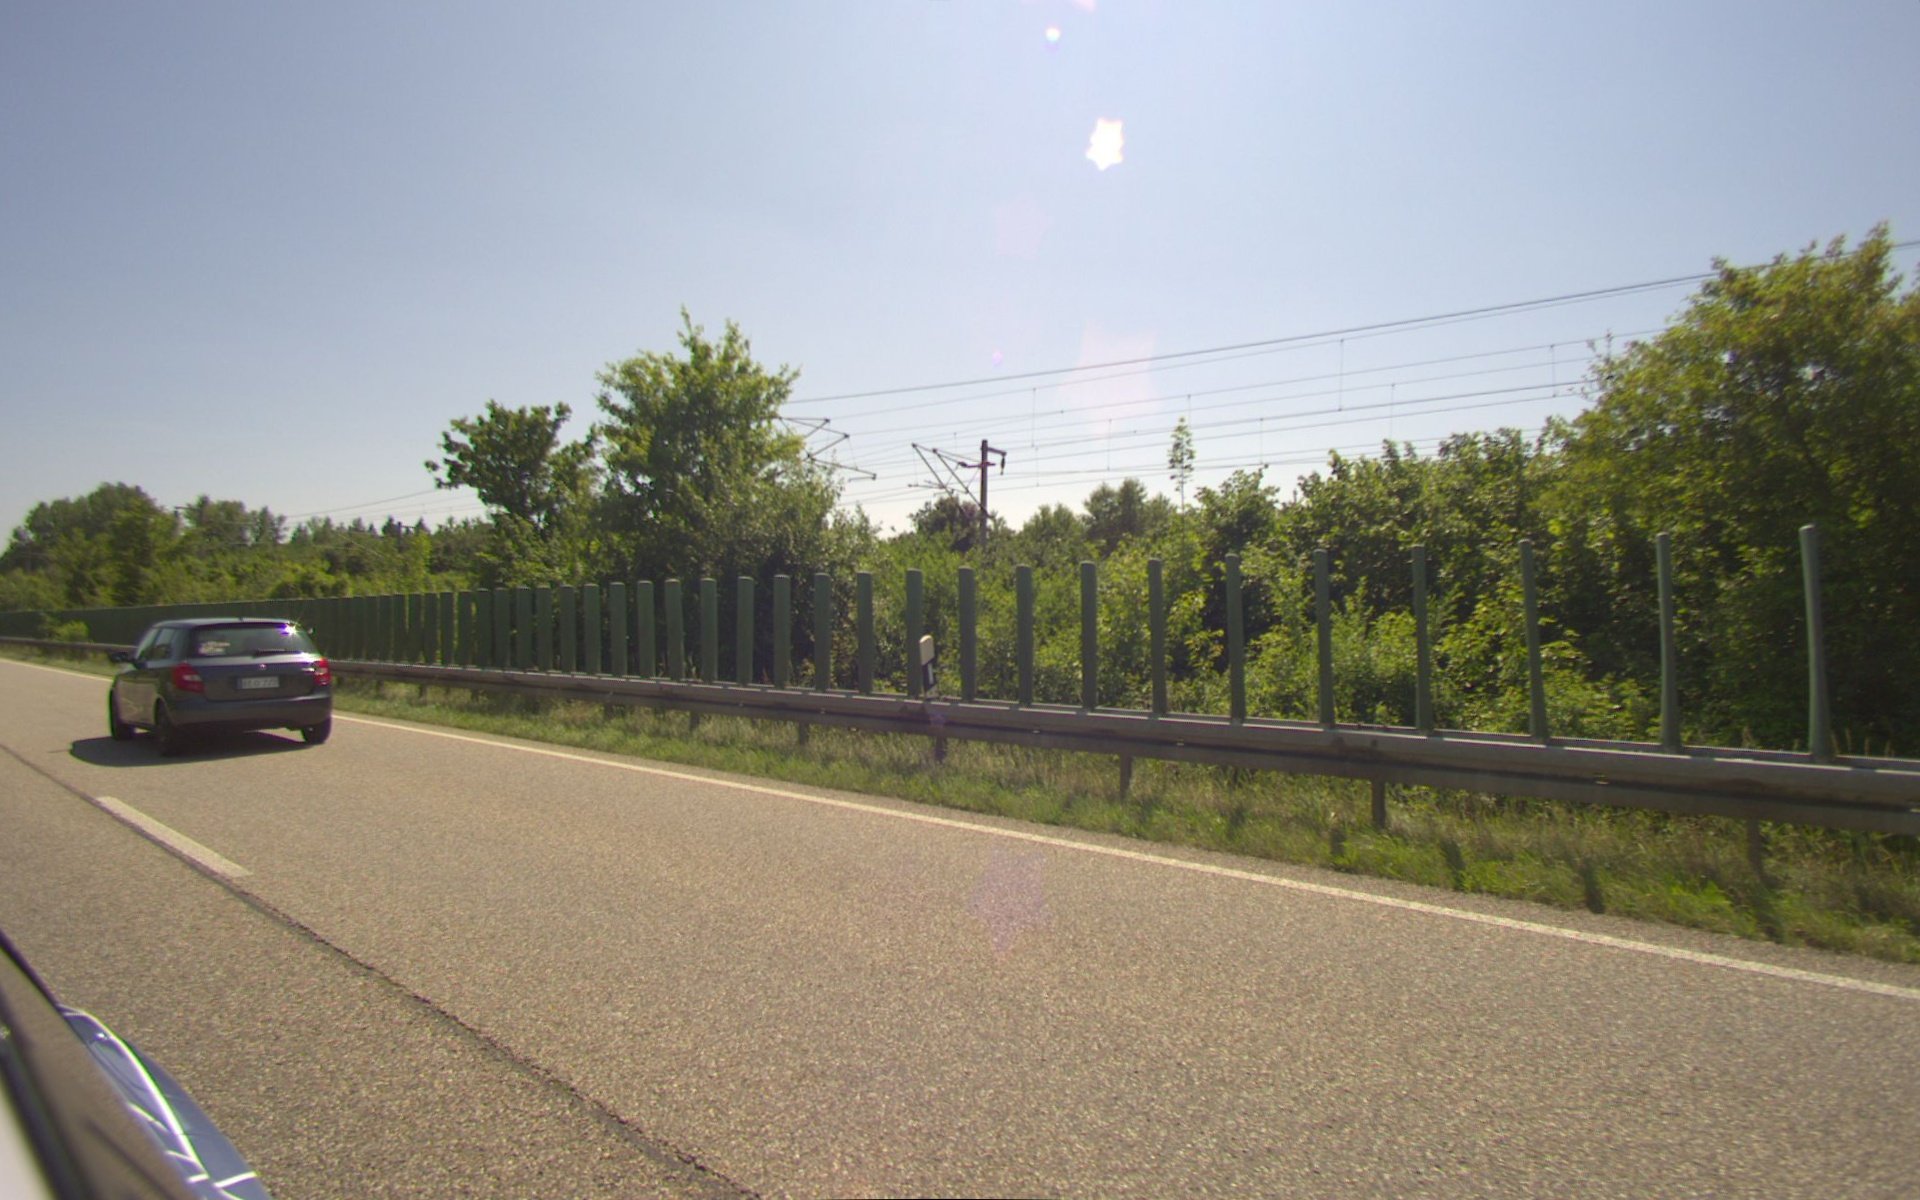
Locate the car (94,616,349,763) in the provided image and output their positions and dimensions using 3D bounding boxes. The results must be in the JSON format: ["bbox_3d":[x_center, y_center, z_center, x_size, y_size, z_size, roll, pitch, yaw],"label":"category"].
[{"bbox_3d":[-8.895,0.954,12.096,3.674,1.490,1.632,-2,-2,40],"label":"car"}]
